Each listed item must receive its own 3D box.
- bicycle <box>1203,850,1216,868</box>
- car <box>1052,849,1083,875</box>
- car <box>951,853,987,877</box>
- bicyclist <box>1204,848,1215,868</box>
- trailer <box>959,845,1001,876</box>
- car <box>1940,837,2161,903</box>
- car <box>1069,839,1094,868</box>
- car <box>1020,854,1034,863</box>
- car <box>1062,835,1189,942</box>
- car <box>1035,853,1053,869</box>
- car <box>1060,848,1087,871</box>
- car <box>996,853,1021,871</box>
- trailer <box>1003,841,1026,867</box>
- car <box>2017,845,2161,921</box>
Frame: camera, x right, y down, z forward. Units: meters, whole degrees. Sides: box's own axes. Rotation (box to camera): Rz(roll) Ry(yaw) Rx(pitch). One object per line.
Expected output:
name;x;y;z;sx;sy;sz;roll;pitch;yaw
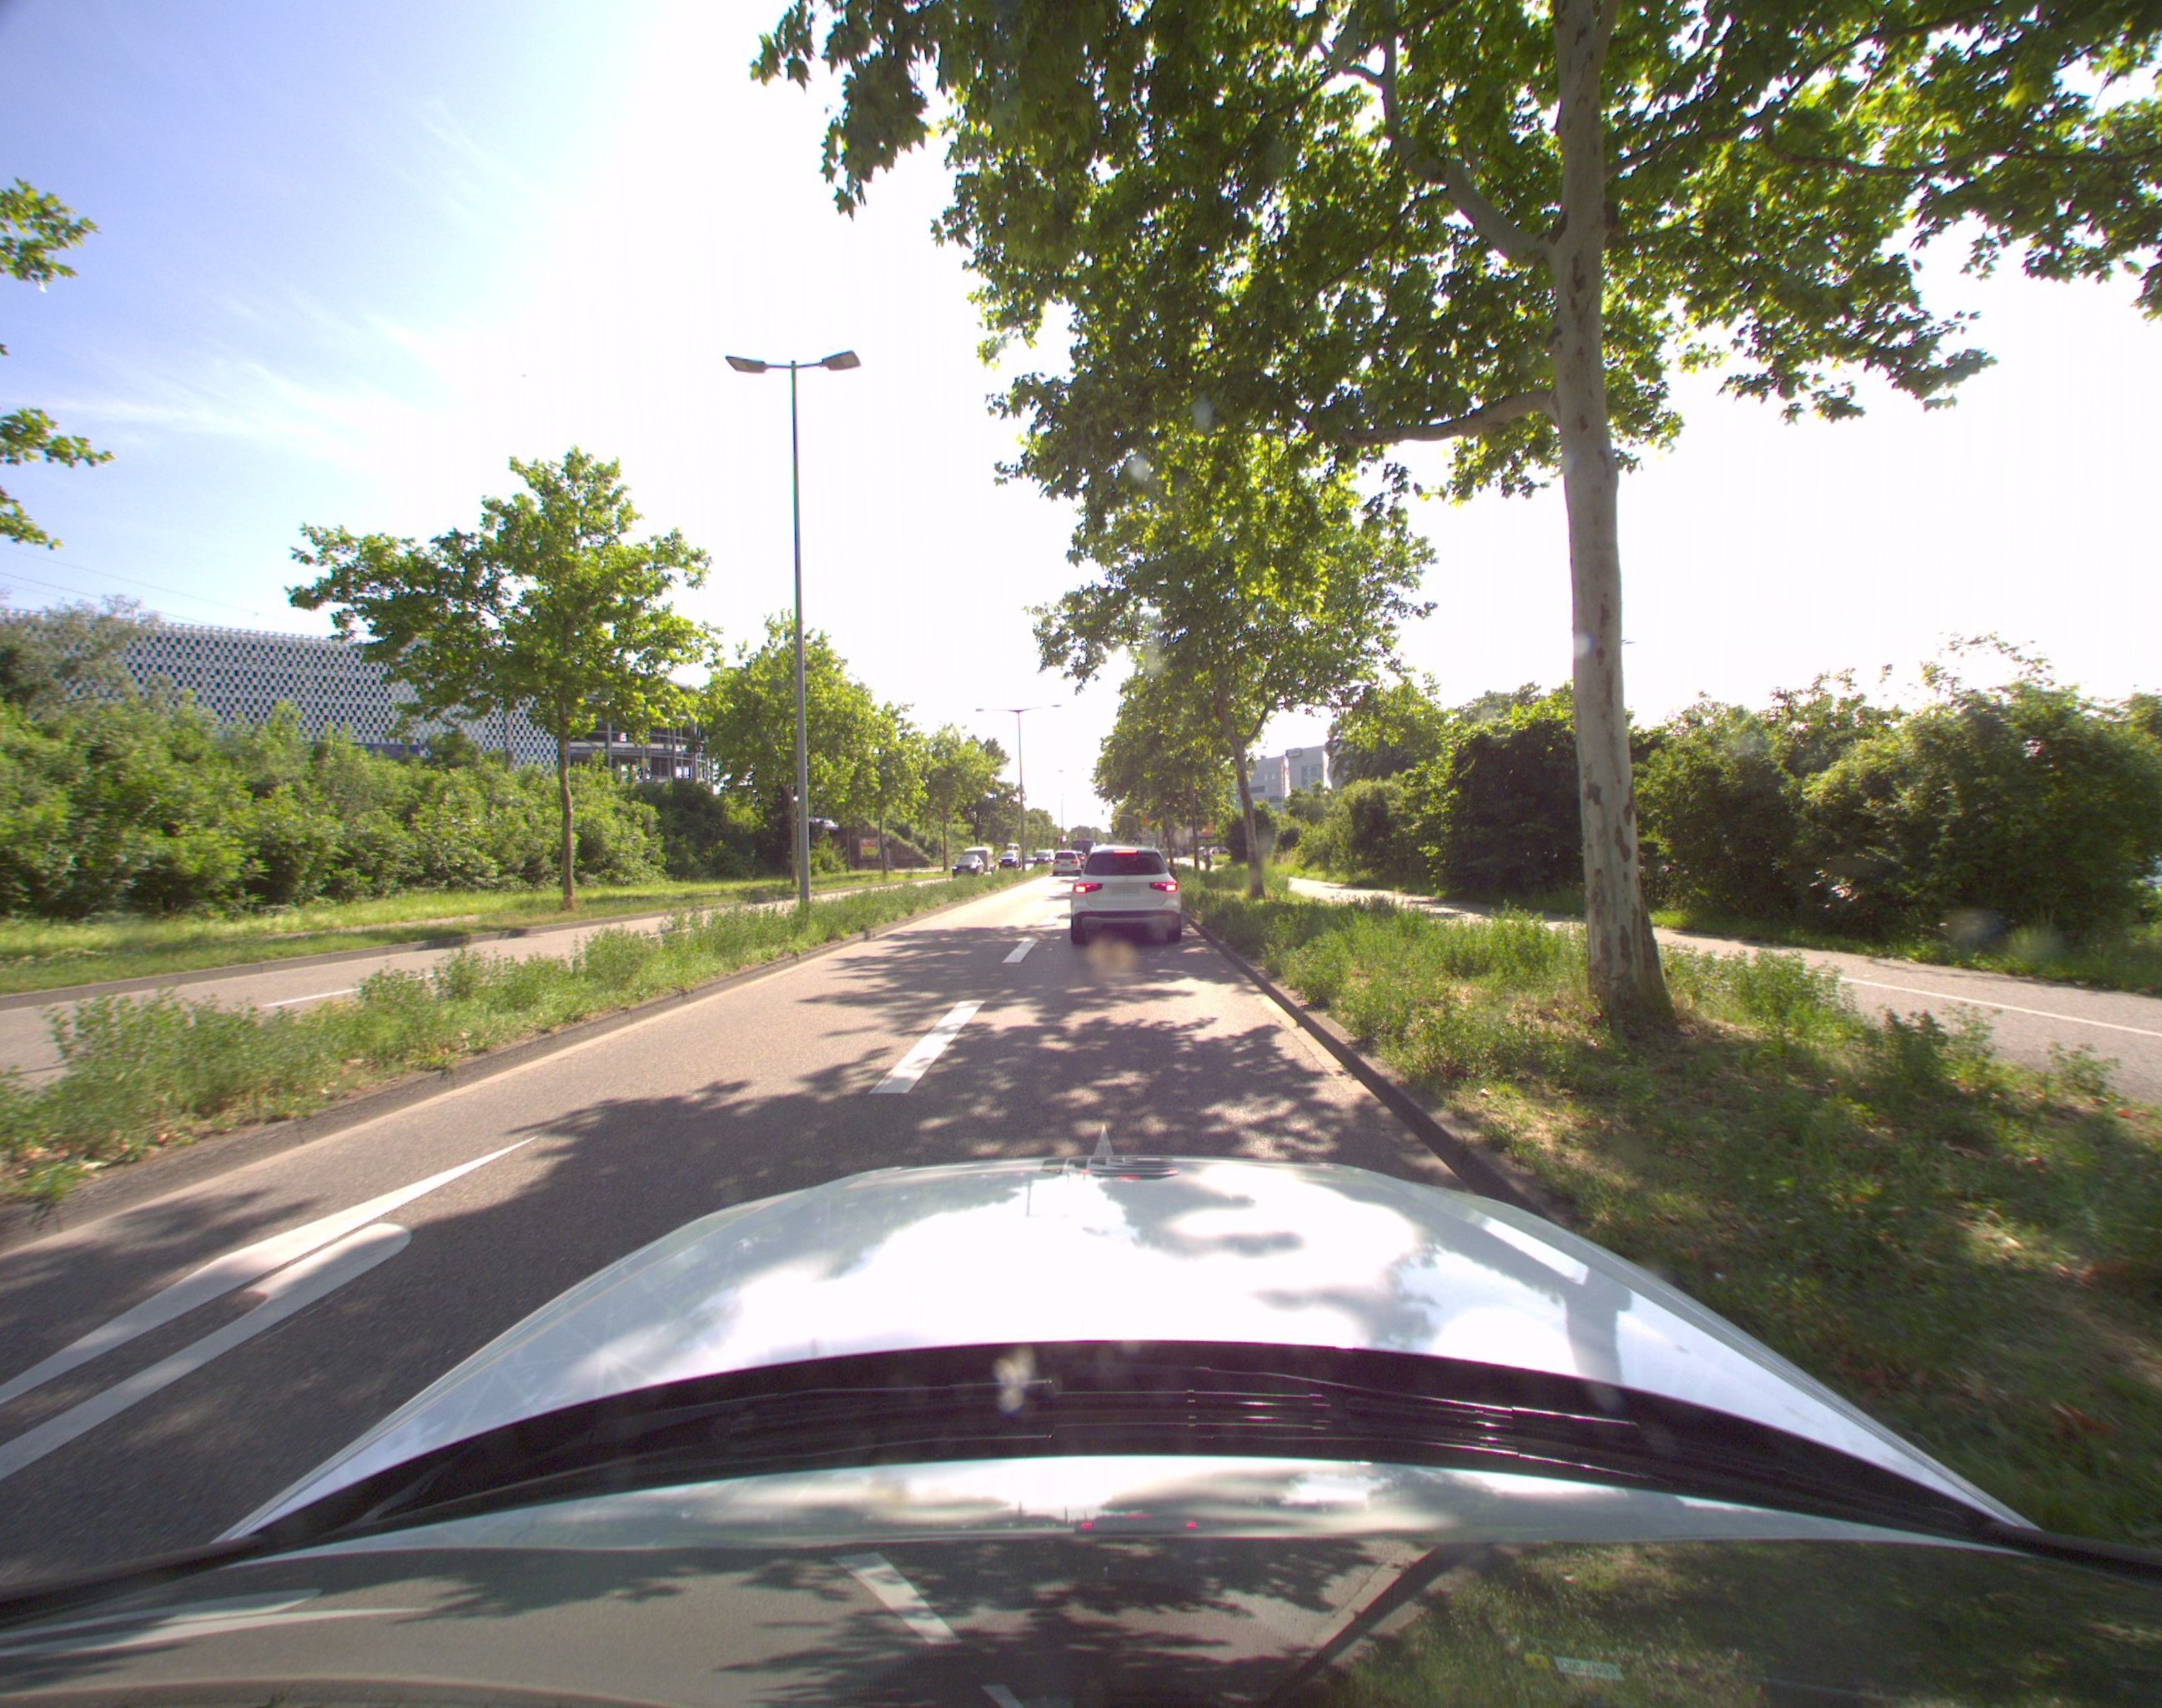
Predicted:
bicycle;9.484;0.342;60.075;0.720;1.299;2.097;-1;0;3
car;-0.857;0.505;54.433;1.764;1.647;4.355;-1;0;3
car;-8.127;0.795;59.468;1.708;1.622;4.364;-1;0;3
bicyclist;9.502;0.306;60.070;0.701;1.477;1.010;-1;0;3
trailer;-7.907;0.511;64.419;2.299;2.265;5.542;-1;0;3
car;20.945;0.328;17.481;3.306;1.310;1.448;-1;0;5
car;0.042;-0.016;76.446;2.073;2.656;4.878;0;0;3
car;-8.291;0.687;124.979;1.695;1.365;3.647;-1;0;2
car;0.658;0.534;14.687;1.849;1.607;3.996;-2;0;-3
car;-4.229;0.738;93.629;1.723;1.809;4.235;0;0;3
car;-0.510;0.410;60.381;1.764;1.647;4.088;-1;0;3
car;-7.509;0.775;84.707;1.757;1.789;5.380;0;0;3
trailer;-7.262;-0.005;89.198;1.872;2.744;4.832;0;0;3
car;20.355;0.489;15.060;3.920;1.310;1.705;-1;0;5
